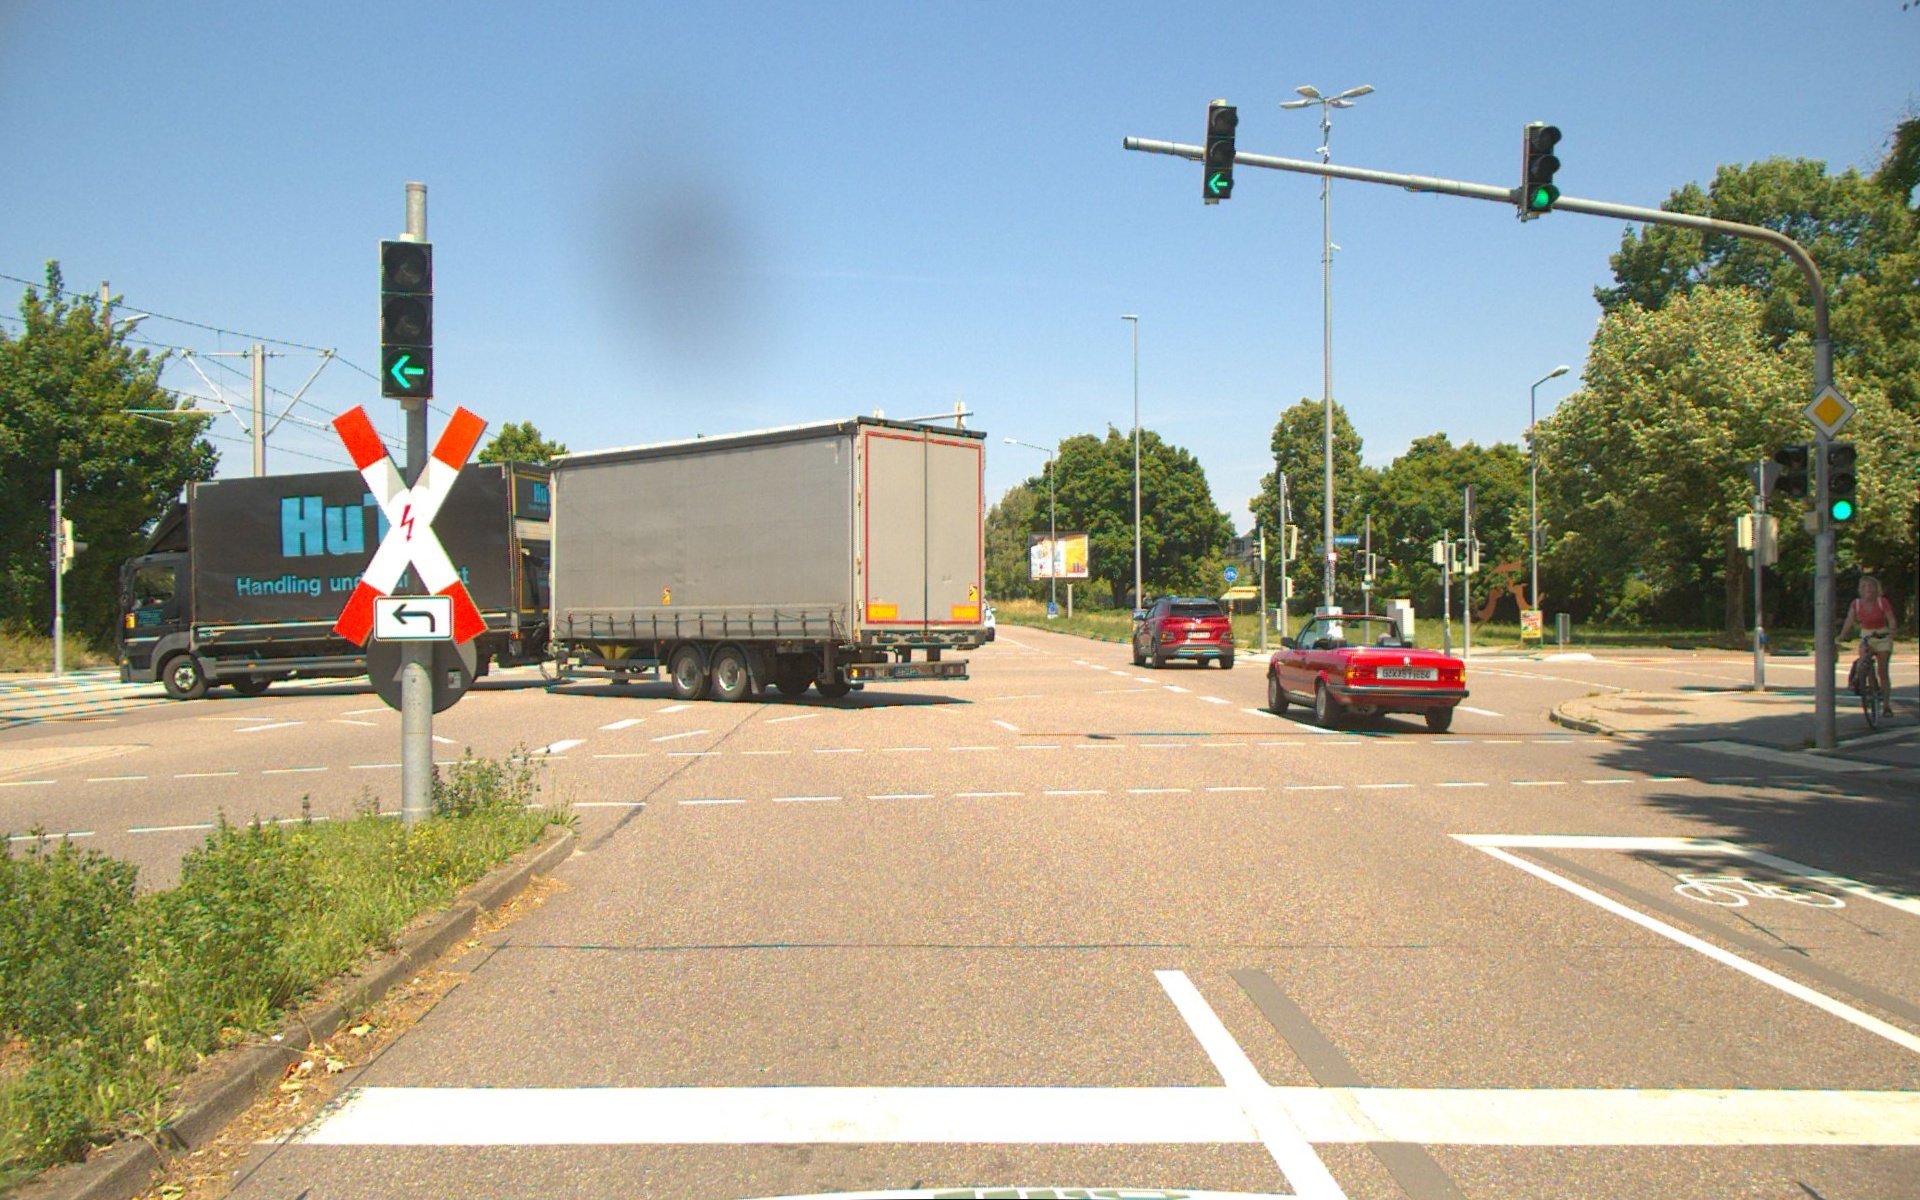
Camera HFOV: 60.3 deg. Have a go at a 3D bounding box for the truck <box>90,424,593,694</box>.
[{"bbox_3d":[-10.898,-0.610,29.399,8.080,4.421,2.838,-1,-1,11],"label":"truck"}]

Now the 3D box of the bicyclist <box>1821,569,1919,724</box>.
[{"bbox_3d":[10.719,0.536,19.467,0.785,1.757,0.679,-3,-1,9],"label":"bicyclist"}]

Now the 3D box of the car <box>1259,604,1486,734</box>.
[{"bbox_3d":[5.099,0.796,21.027,1.622,1.421,4.265,1,0,-3],"label":"car"}]

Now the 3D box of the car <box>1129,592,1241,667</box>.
[{"bbox_3d":[5.089,0.634,37.837,1.821,1.576,3.885,1,0,-3],"label":"car"}]

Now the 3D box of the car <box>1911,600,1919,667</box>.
[{"bbox_3d":[24.294,0.769,37.743,4.414,1.529,1.992,0,1,-16],"label":"car"}]

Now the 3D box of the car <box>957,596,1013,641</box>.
[{"bbox_3d":[0.905,0.660,62.108,1.821,1.570,4.154,1,0,-3],"label":"car"}]

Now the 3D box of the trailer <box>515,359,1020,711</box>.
[{"bbox_3d":[-3.223,-0.809,25.167,8.598,4.499,2.817,0,-1,44],"label":"trailer"}]

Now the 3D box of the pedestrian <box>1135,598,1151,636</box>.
[{"bbox_3d":[9.872,0.902,89.115,0.727,2.049,0.613,1,0,-1],"label":"pedestrian"}]

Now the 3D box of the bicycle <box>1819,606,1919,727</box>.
[{"bbox_3d":[10.714,0.751,19.374,0.631,1.327,1.627,-3,0,9],"label":"bicycle"}]
